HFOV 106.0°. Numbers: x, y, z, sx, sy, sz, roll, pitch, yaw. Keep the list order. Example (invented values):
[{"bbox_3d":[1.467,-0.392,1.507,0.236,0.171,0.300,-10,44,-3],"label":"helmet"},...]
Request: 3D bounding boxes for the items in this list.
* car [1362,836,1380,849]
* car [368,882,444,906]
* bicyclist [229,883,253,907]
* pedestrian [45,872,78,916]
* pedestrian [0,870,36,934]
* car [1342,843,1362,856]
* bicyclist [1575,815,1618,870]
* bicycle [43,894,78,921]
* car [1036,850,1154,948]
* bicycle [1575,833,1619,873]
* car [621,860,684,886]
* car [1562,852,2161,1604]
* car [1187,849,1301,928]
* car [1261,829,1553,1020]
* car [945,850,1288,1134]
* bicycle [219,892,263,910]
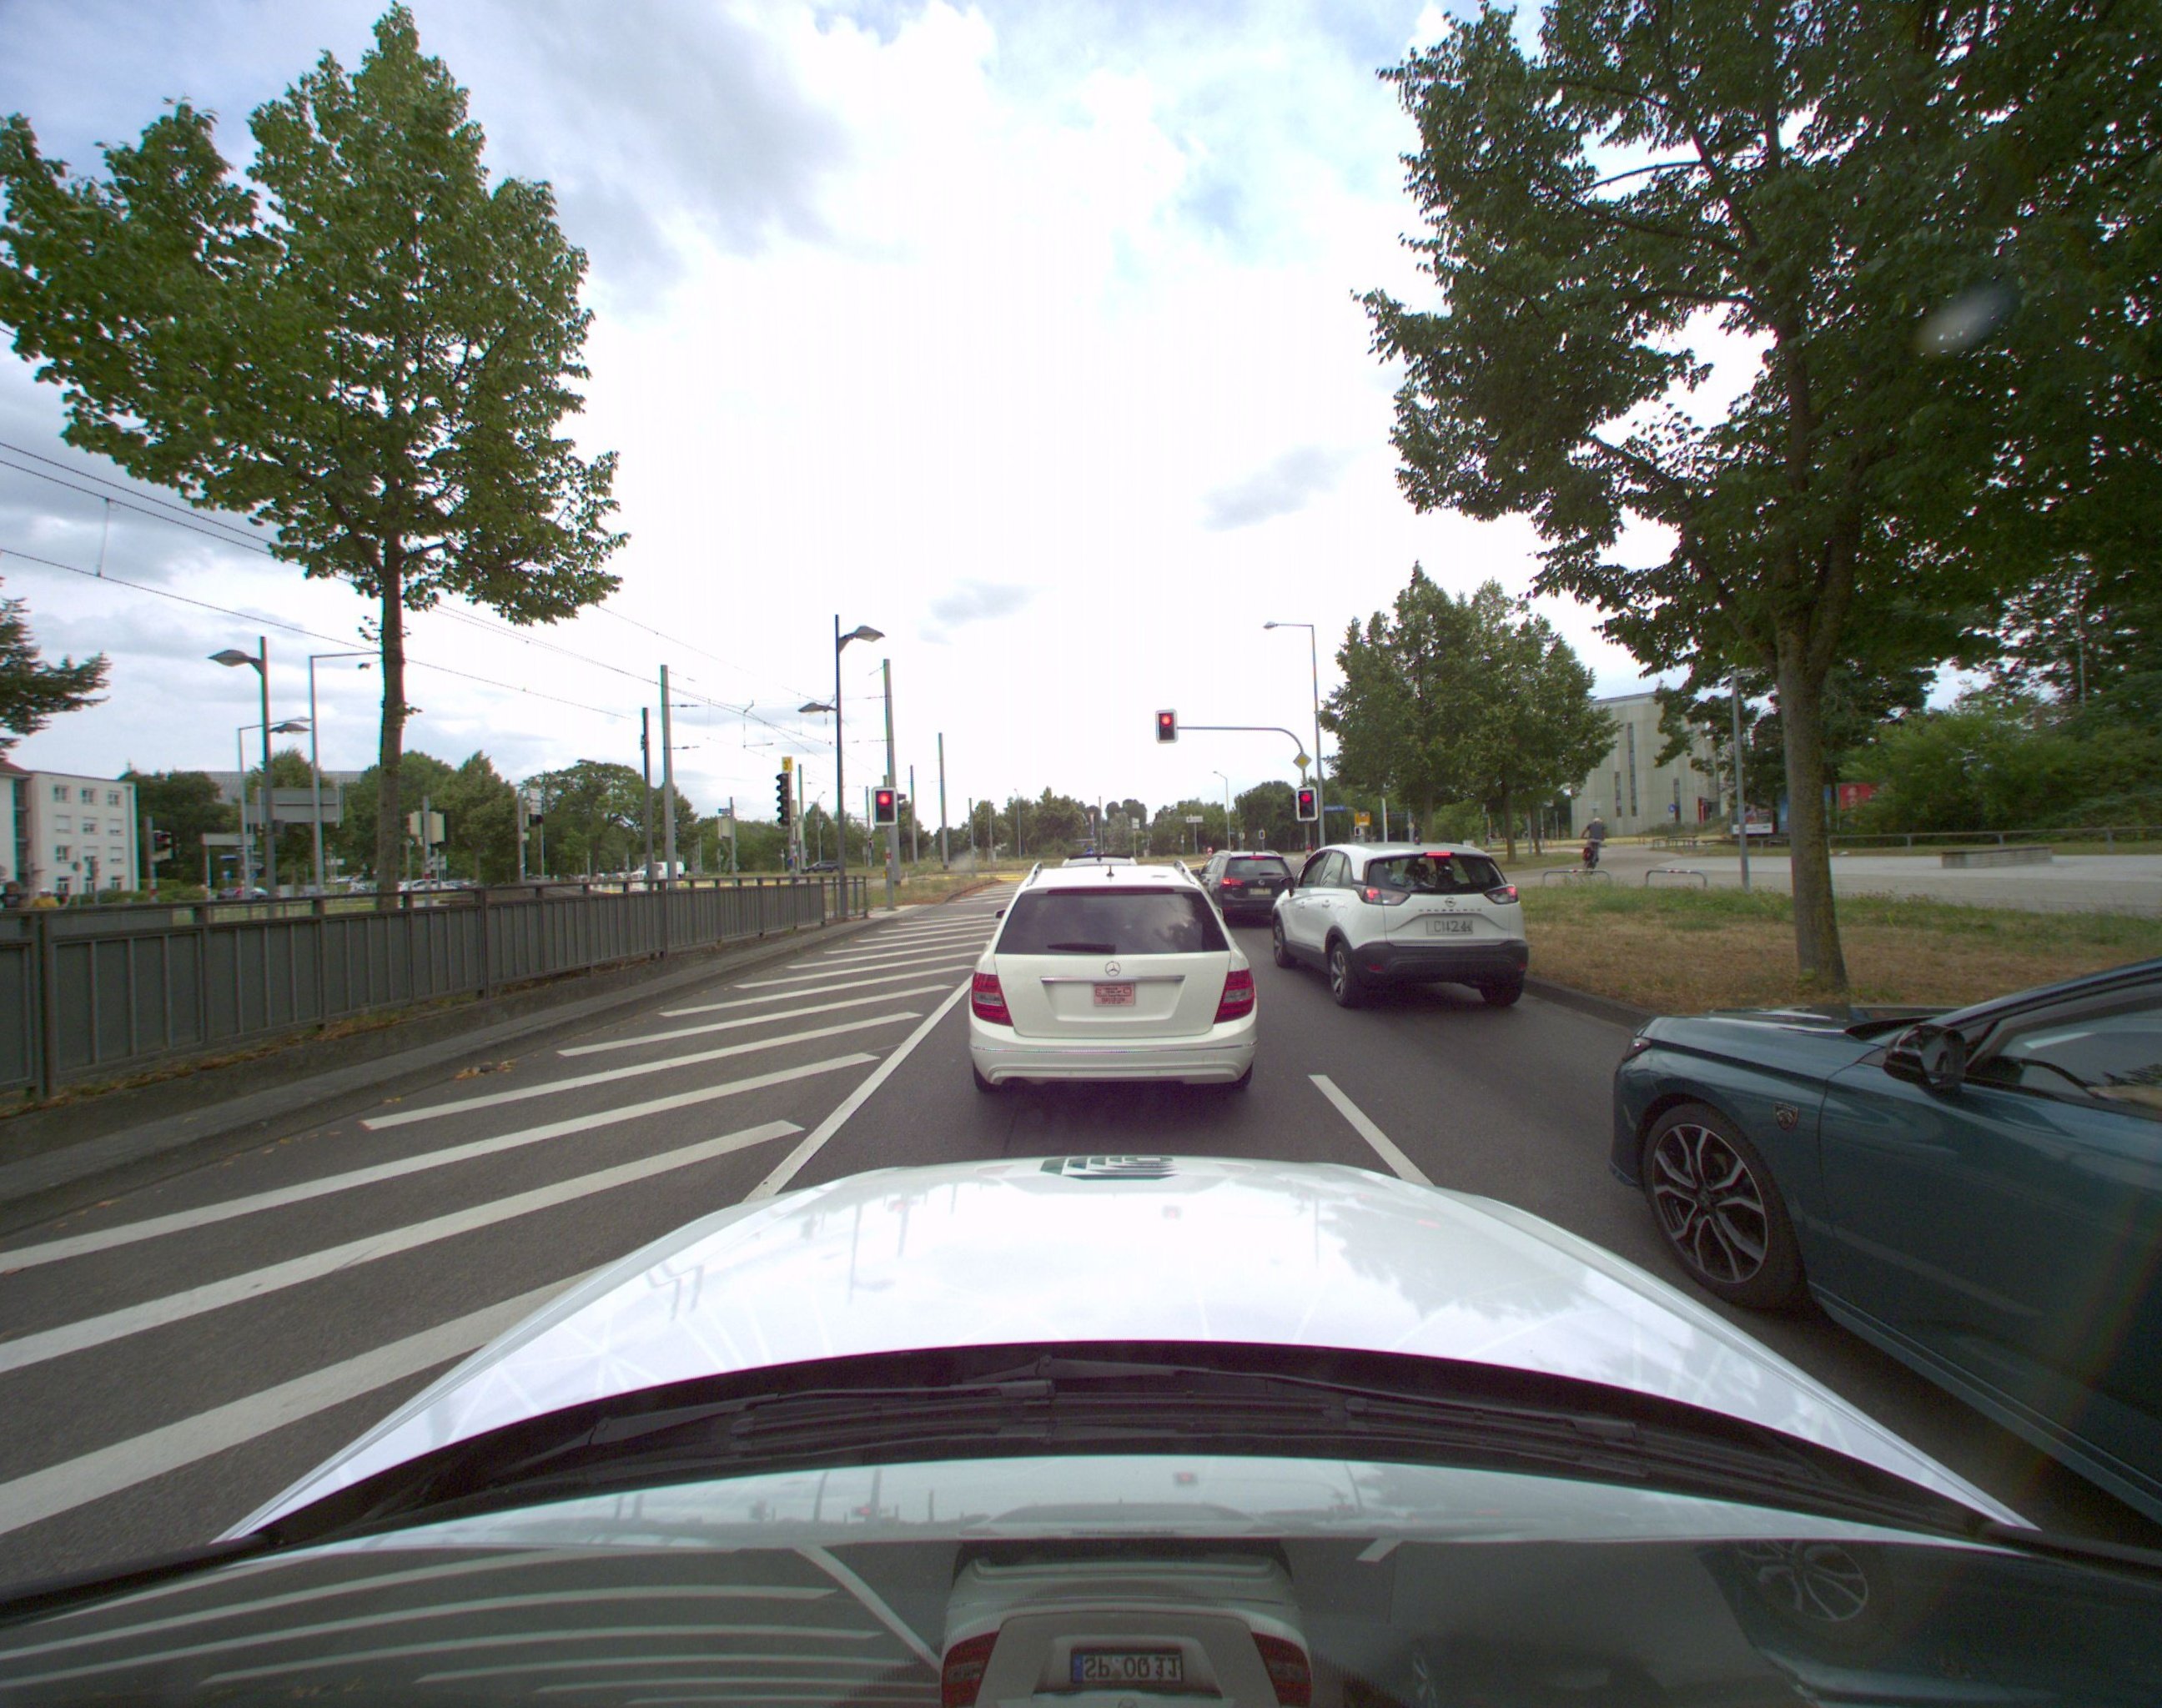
[{"bbox_3d":[37.748,-1.550,105.883,1.767,1.636,4.428,-2,0,25],"label":"car"},{"bbox_3d":[-51.420,3.018,62.079,1.974,1.641,4.025,0,0,33],"label":"car"},{"bbox_3d":[-57.001,2.768,55.262,0.742,1.562,0.896,-2,0,19],"label":"bicyclist"},{"bbox_3d":[-48.389,1.884,38.666,0.804,2.013,0.899,-2,0,-43],"label":"pedestrian"},{"bbox_3d":[-32.063,1.435,24.469,0.652,1.850,0.486,-2,0,-37],"label":"pedestrian"},{"bbox_3d":[38.483,-0.642,115.522,1.974,1.791,4.025,0,0,30],"label":"car"},{"bbox_3d":[16.744,-0.365,26.495,0.987,1.737,1.136,-2,0,25],"label":"bicyclist"},{"bbox_3d":[-48.358,2.517,38.616,0.616,1.136,2.535,1,0,-42],"label":"bicycle"},{"bbox_3d":[0.211,0.673,14.276,1.768,1.448,3.910,-1,0,0],"label":"car"},{"bbox_3d":[16.742,-0.050,26.470,0.894,1.235,2.281,-2,0,25],"label":"bicycle"},{"bbox_3d":[-37.856,1.636,72.129,1.979,2.013,5.019,-2,0,14],"label":"car"},{"bbox_3d":[2.998,0.737,1.346,1.782,1.432,4.308,-1,0,-1],"label":"car"},{"bbox_3d":[3.301,0.634,17.197,1.619,1.448,3.910,-1,0,0],"label":"car"},{"bbox_3d":[3.312,0.612,9.157,1.780,1.624,3.912,-2,0,2],"label":"car"},{"bbox_3d":[0.189,0.709,6.198,1.768,1.448,3.910,-1,0,0],"label":"car"},{"bbox_3d":[-56.943,3.207,55.212,2.679,1.129,0.812,-2,0,14],"label":"bicycle"}]
